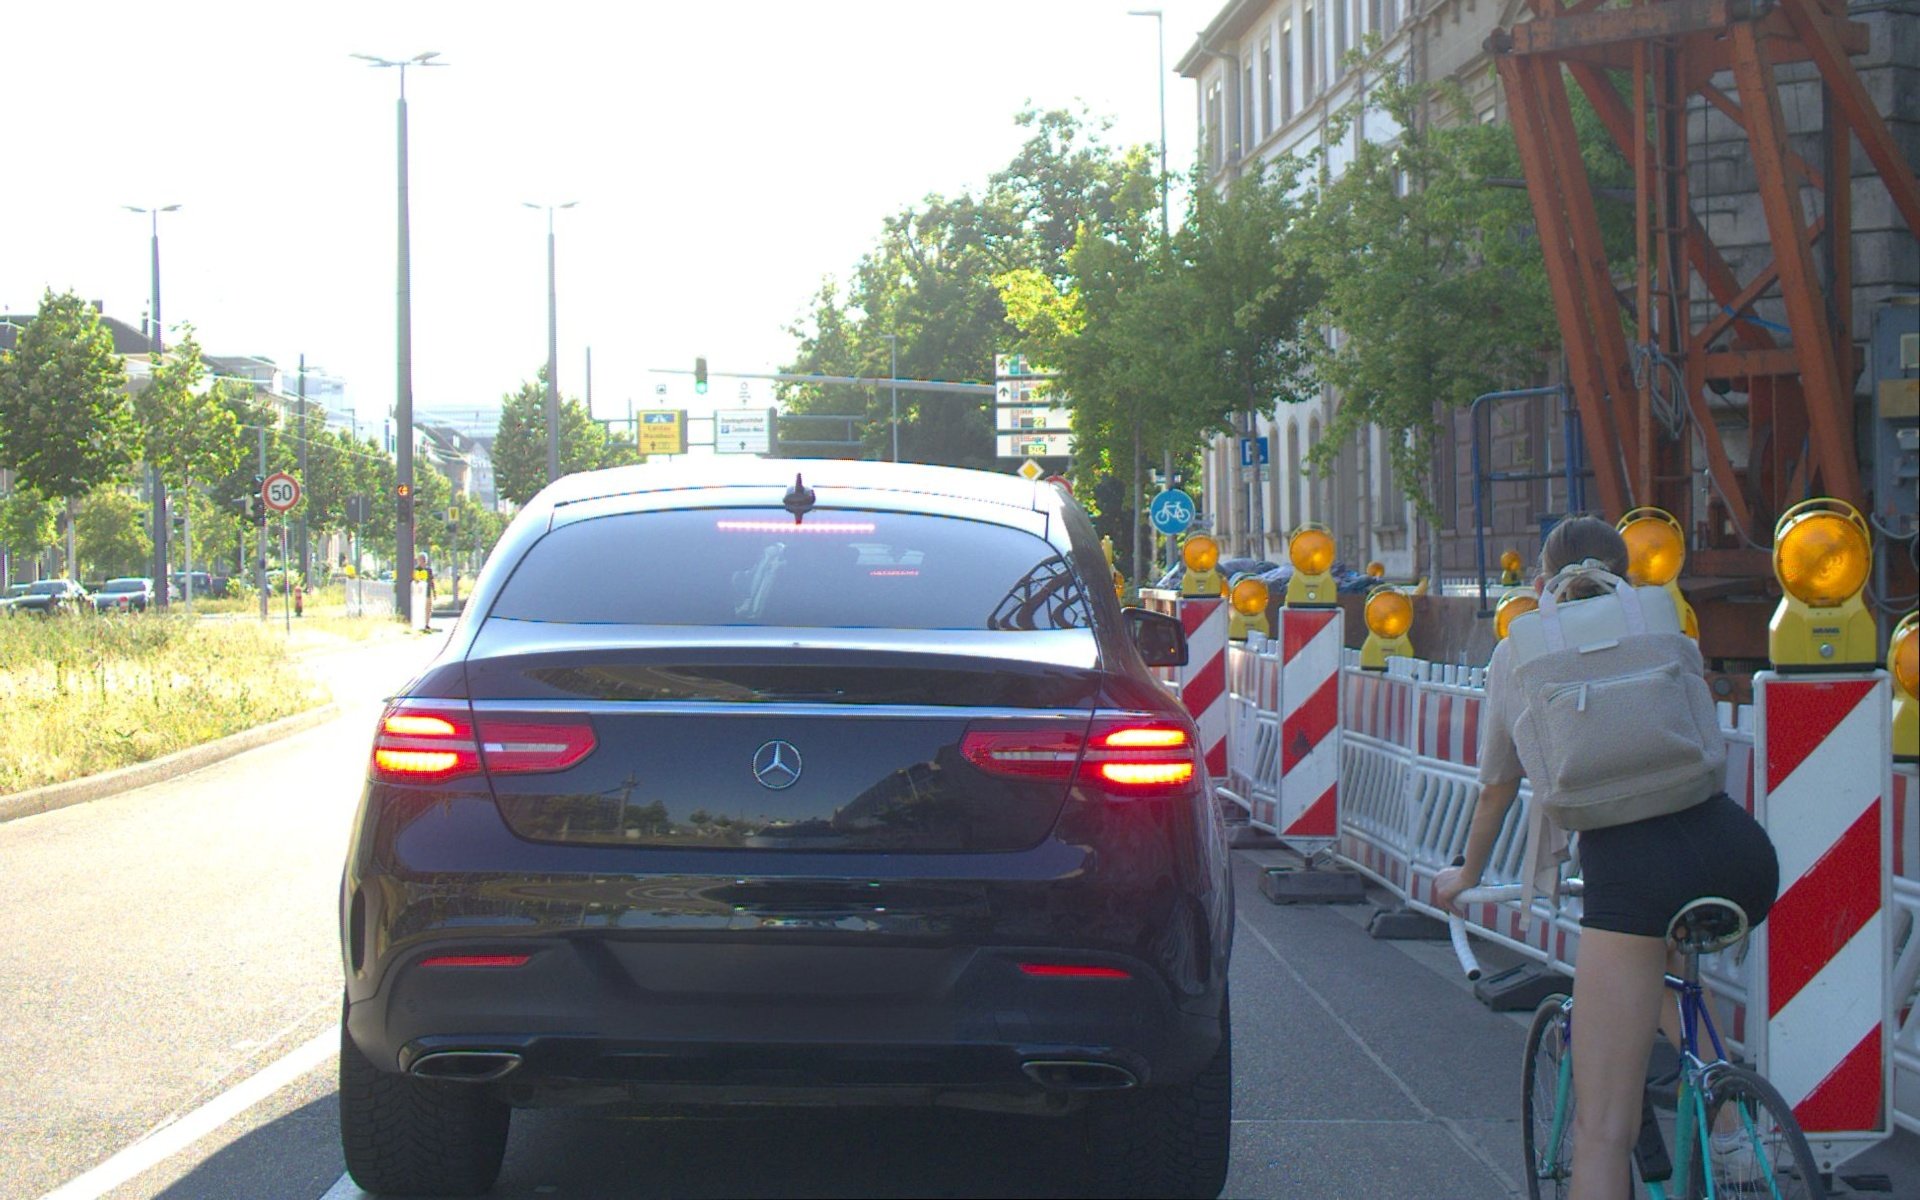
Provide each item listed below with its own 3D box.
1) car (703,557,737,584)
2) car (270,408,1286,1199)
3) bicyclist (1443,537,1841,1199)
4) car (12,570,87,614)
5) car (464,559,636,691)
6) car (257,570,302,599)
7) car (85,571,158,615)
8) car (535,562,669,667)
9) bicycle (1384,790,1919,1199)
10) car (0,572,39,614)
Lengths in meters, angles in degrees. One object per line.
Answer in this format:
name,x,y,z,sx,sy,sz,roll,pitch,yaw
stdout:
car,-12.825,-1.577,183.620,1.708,1.437,3.583,1,1,-3
car,-0.384,0.496,8.816,1.993,1.766,4.000,1,1,-1
bicyclist,1.167,0.592,5.972,0.522,1.391,0.615,1,0,-3
car,-30.641,-0.289,115.740,1.708,1.437,3.583,1,1,-3
car,-4.686,0.255,39.672,1.708,1.437,3.583,1,1,-3
car,-34.229,-0.777,172.985,1.708,1.437,3.583,1,1,-3
car,-27.994,-0.245,114.831,1.708,1.437,3.583,1,1,-3
car,-5.150,0.182,49.825,1.708,1.437,3.583,1,1,-3
bicycle,1.162,0.918,6.066,0.512,1.048,1.725,1,1,-3
car,-34.122,-0.272,122.601,1.708,1.437,3.583,1,1,-3
